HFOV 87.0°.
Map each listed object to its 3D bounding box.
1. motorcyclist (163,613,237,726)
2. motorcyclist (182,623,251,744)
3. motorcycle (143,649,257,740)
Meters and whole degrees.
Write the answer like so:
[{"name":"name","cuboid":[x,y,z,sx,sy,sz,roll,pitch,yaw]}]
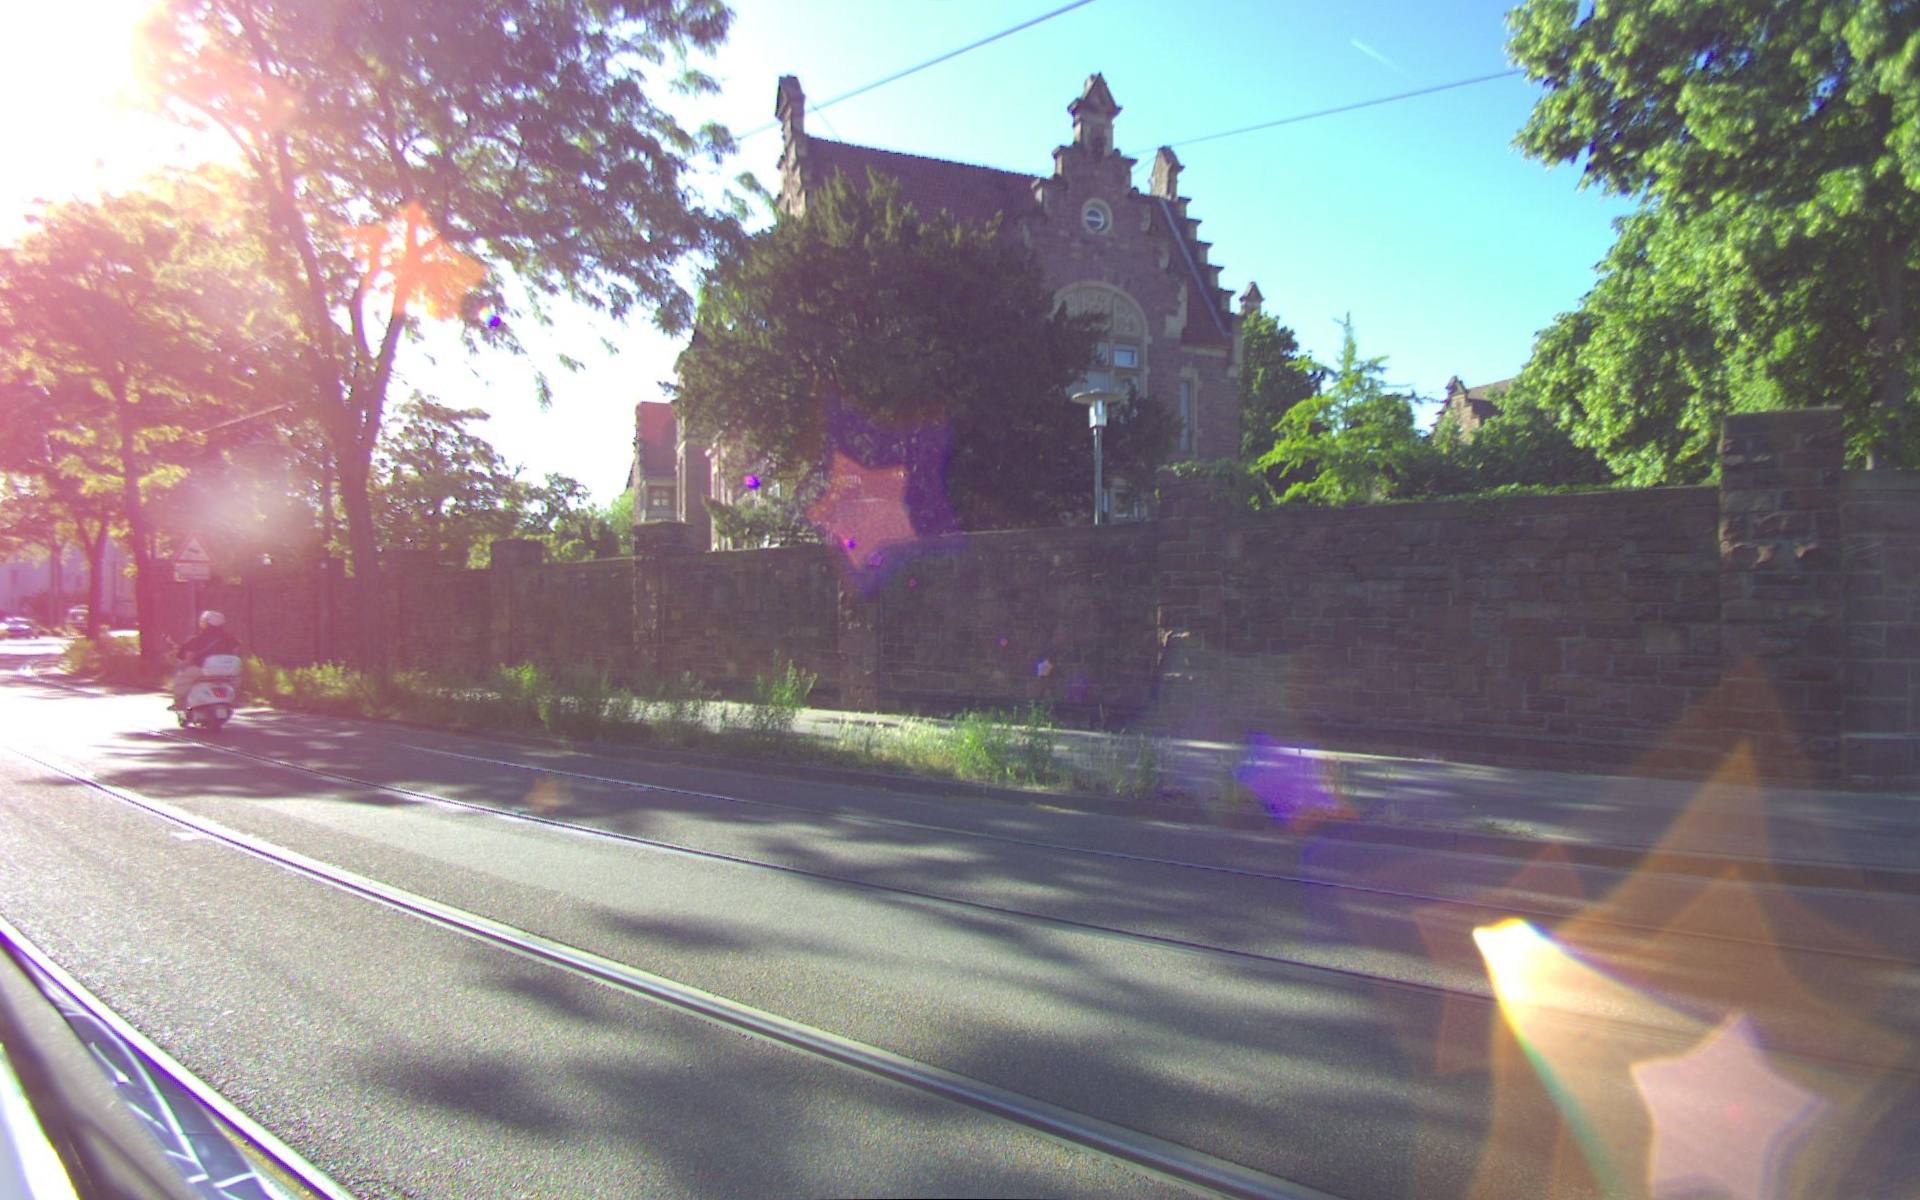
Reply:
[{"name":"motorcyclist","cuboid":[-10.094,0.904,13.452,0.445,1.451,0.678,-1,-1,31]},{"name":"motorcyclist","cuboid":[-9.704,1.069,13.209,0.464,1.527,0.602,-1,-1,32]},{"name":"motorcycle","cuboid":[-10.135,1.224,13.480,1.850,1.101,0.604,-1,-1,32]}]
